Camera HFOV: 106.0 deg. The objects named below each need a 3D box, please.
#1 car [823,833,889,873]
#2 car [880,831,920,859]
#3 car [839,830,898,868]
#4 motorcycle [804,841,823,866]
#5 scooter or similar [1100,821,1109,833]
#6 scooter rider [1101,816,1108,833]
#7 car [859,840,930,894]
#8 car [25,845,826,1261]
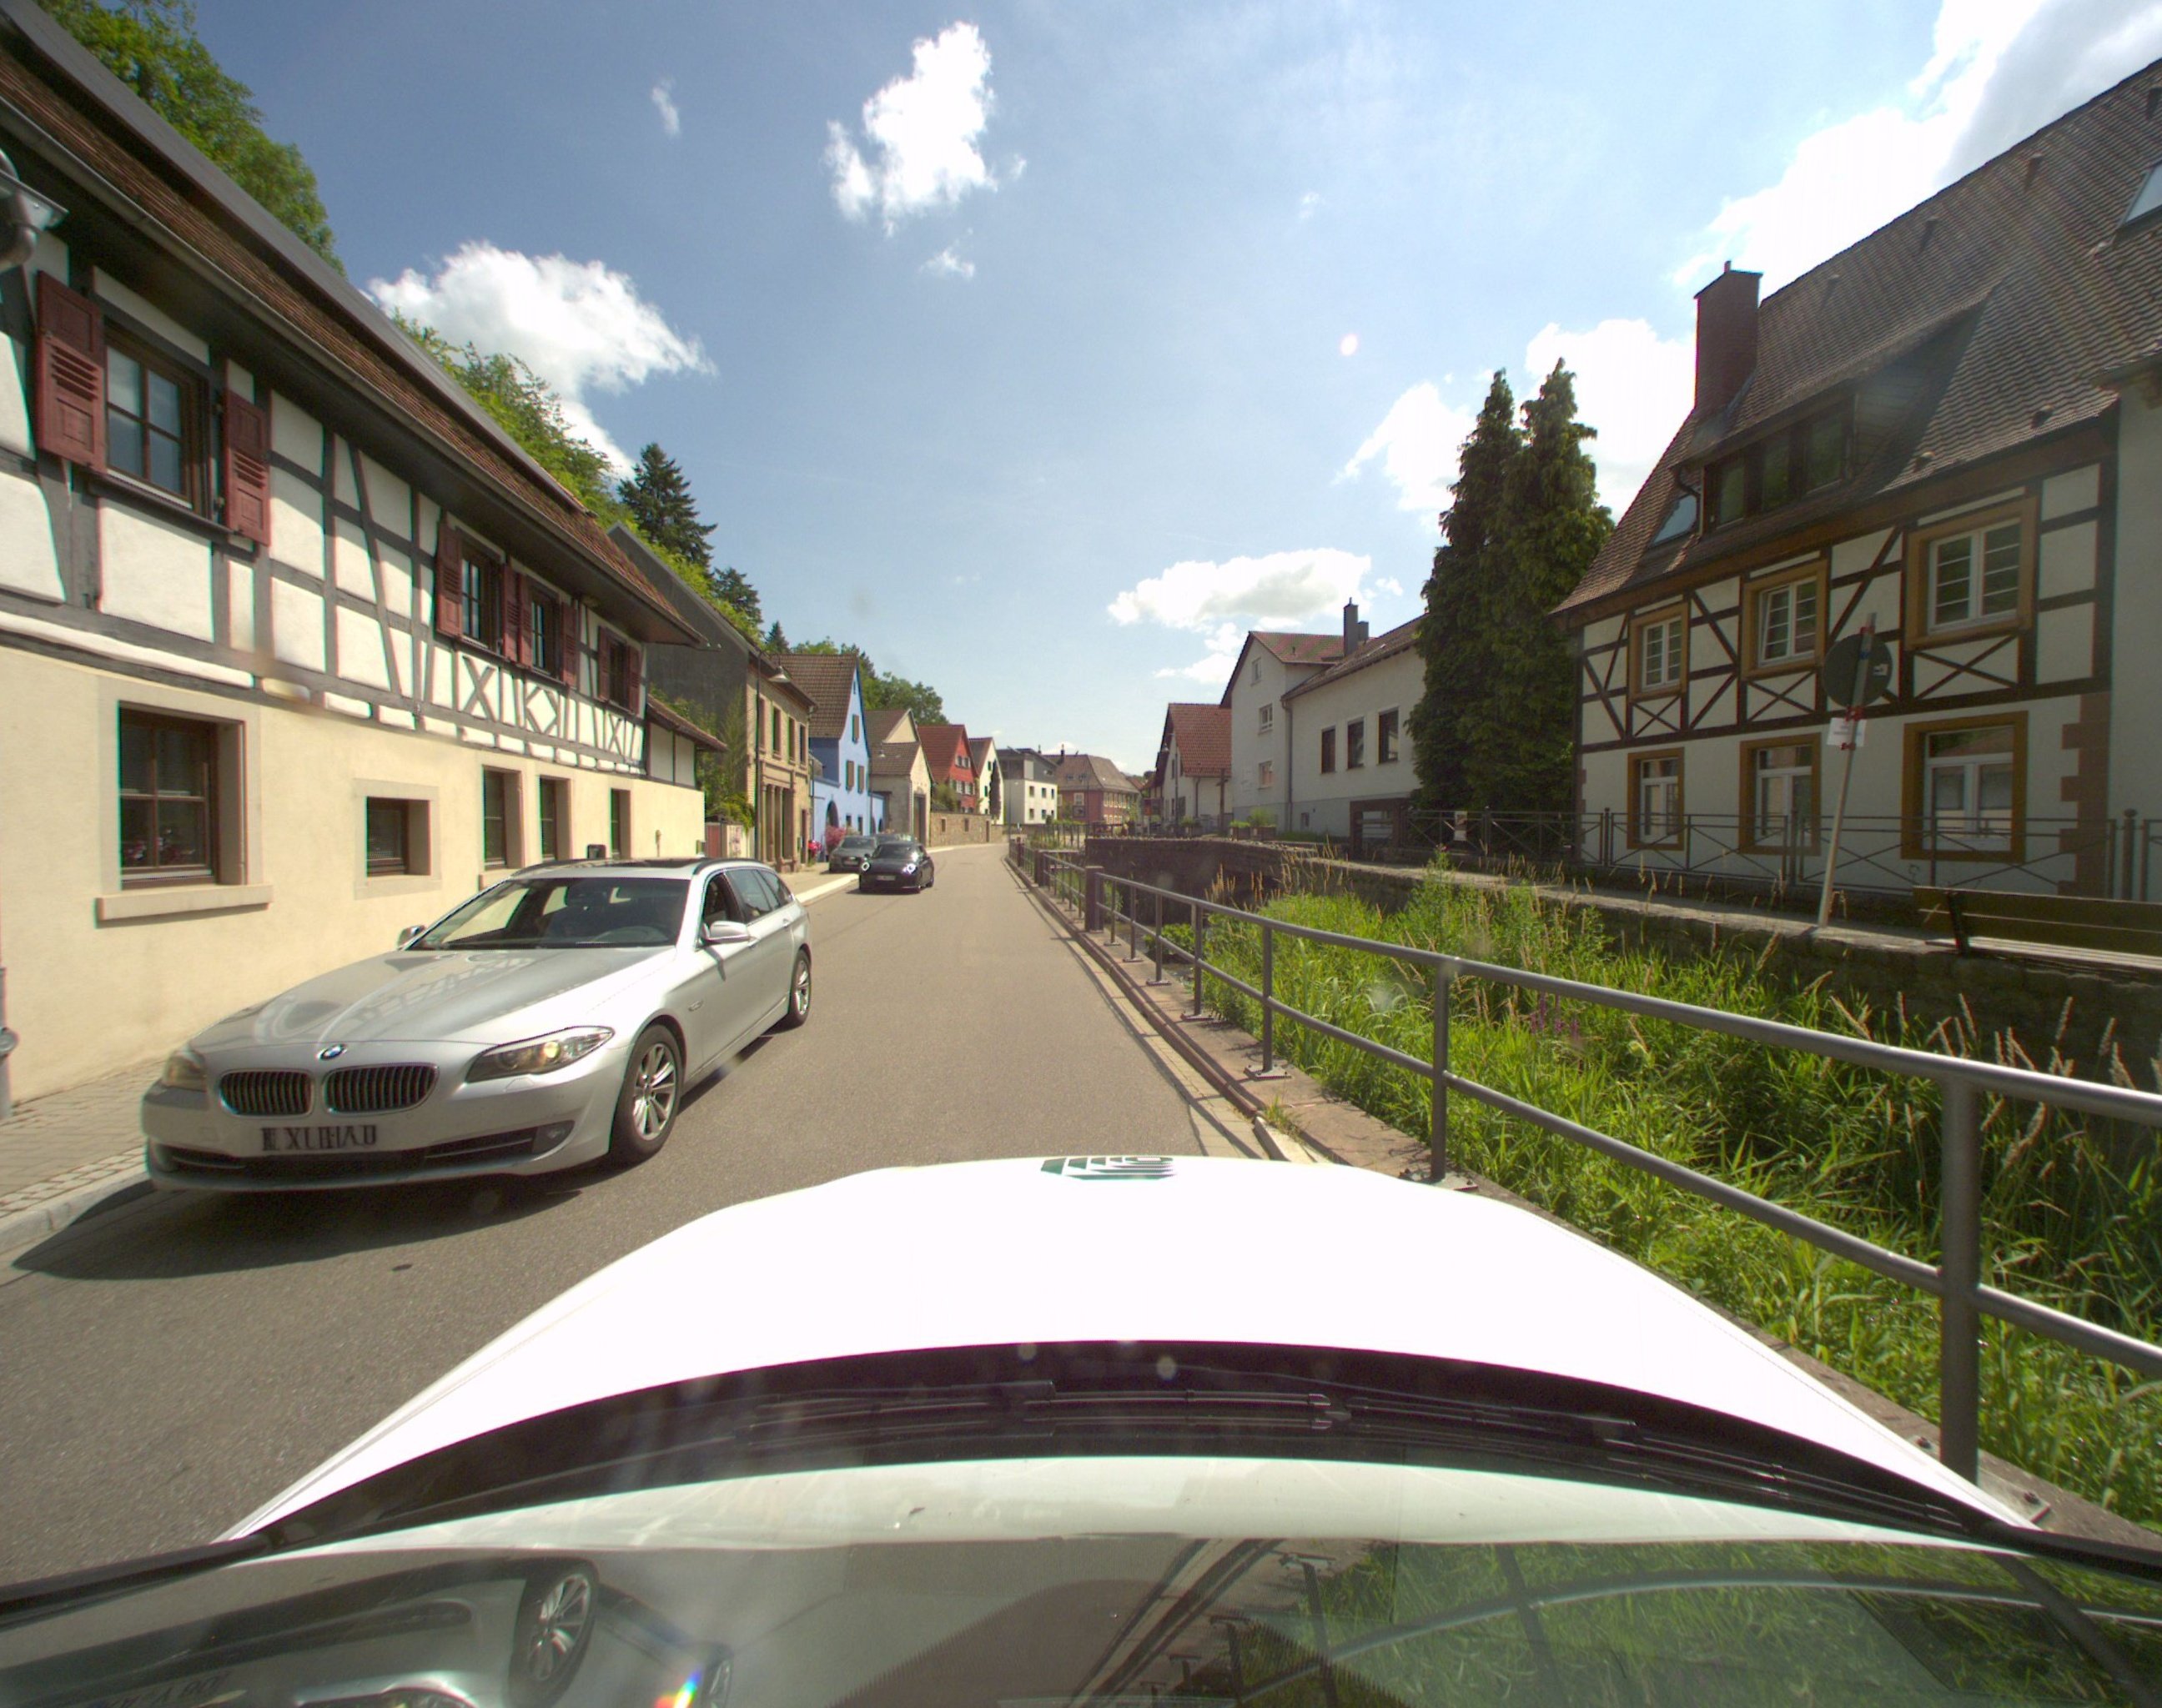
[{"bbox_3d":[-8.896,-0.083,32.545,1.956,1.465,4.533,1,1,-8],"label":"car"},{"bbox_3d":[-10.566,-0.541,47.765,1.714,1.529,3.851,-1,2,-4],"label":"car"},{"bbox_3d":[-9.699,-0.286,37.535,1.883,1.463,4.660,3,2,-6],"label":"car"},{"bbox_3d":[-11.614,-0.024,35.394,0.417,1.001,1.853,5,0,-9],"label":"motorcycle"},{"bbox_3d":[2.427,-2.737,82.839,0.640,1.142,1.807,-1,1,-7],"label":"scooter or similar"},{"bbox_3d":[2.424,-3.040,82.890,0.640,1.731,0.553,1,1,-7],"label":"scooter rider"},{"bbox_3d":[-5.519,0.334,24.536,1.698,1.465,4.422,0,1,-8],"label":"car"},{"bbox_3d":[-3.170,0.710,5.408,1.893,1.500,4.604,-1,1,-6],"label":"car"}]
